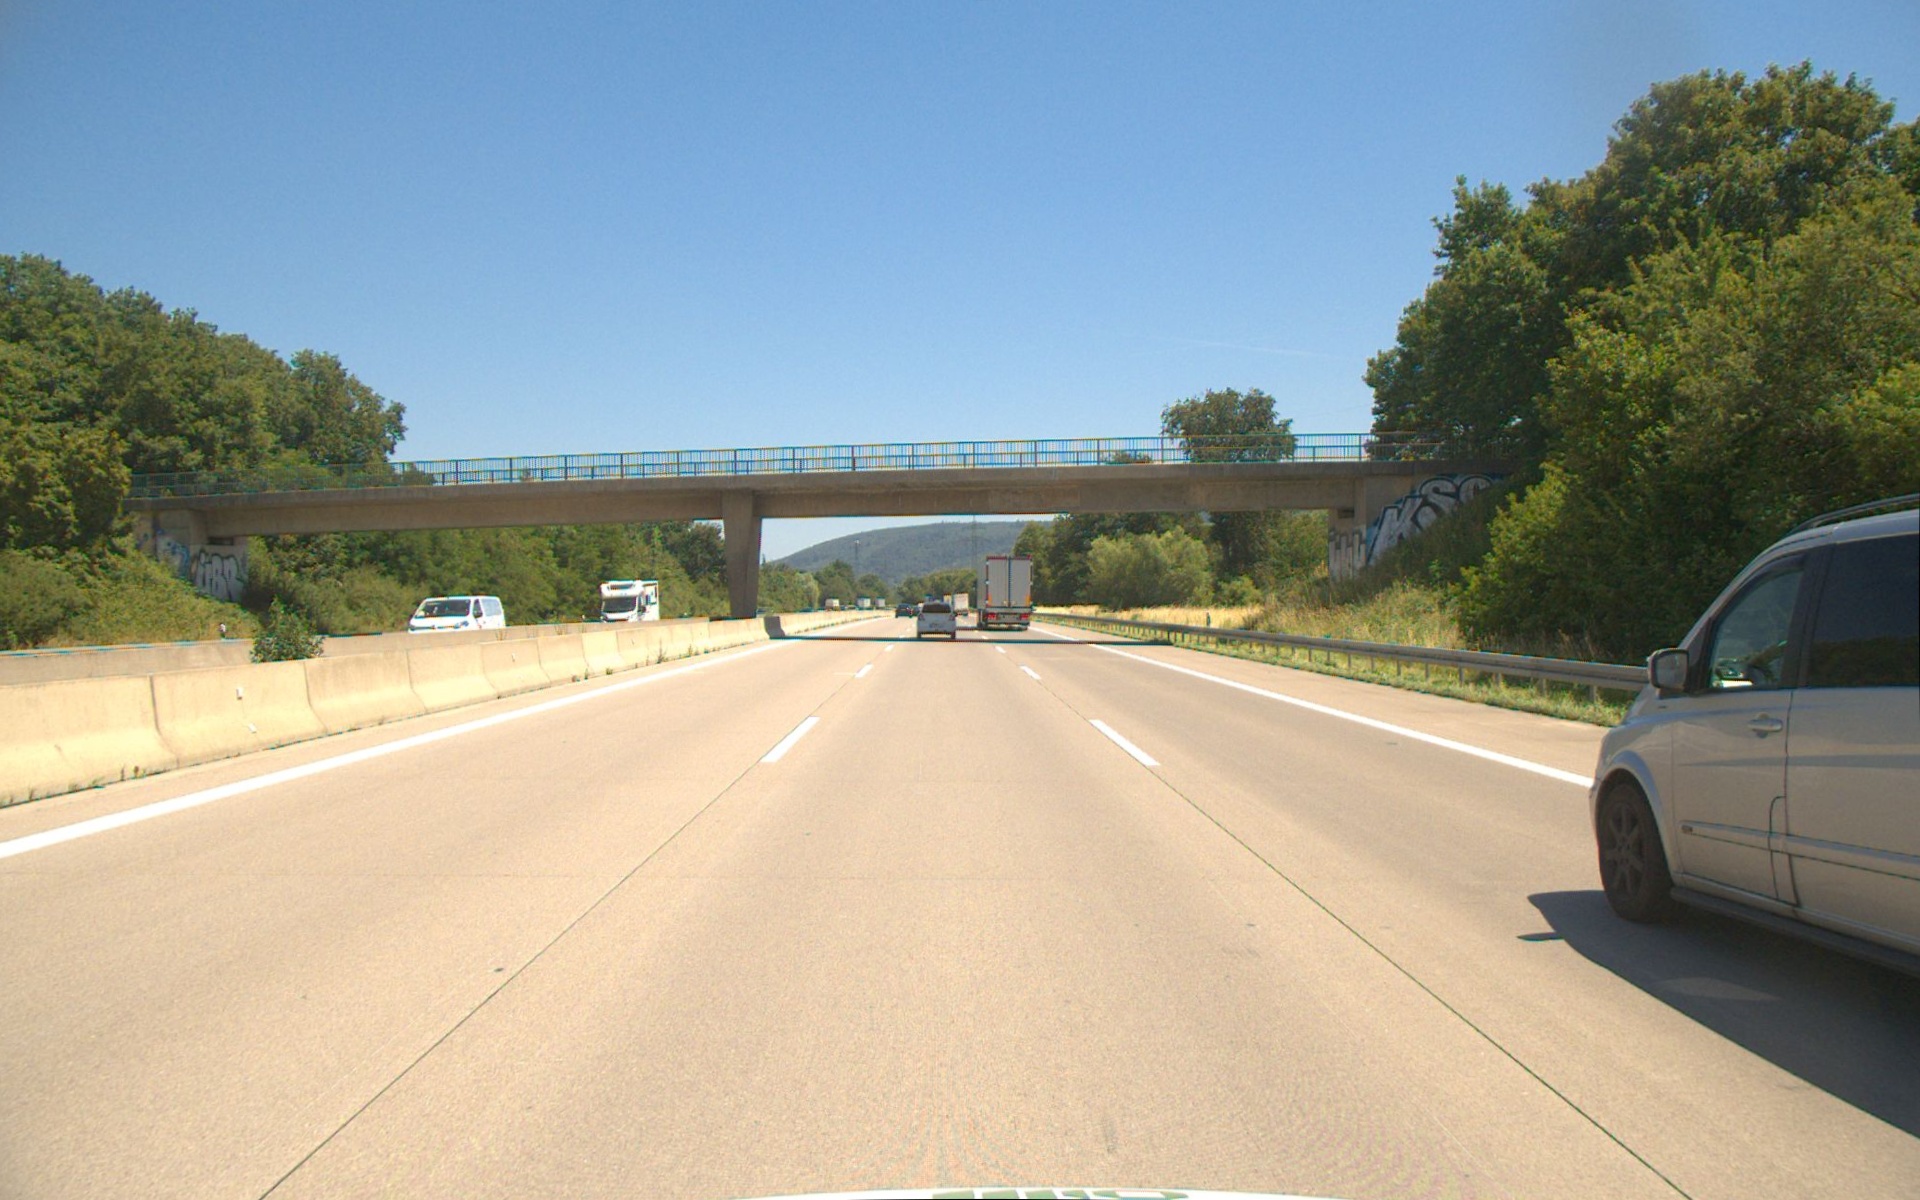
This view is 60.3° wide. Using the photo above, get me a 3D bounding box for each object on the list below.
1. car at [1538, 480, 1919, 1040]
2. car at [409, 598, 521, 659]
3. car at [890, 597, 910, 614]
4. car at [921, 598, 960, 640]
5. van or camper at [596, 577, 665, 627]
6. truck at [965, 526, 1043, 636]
[{"bbox_3d":[4.204,0.548,6.684,1.841,1.922,5.279,0,0,-1],"label":"car"},{"bbox_3d":[-15.108,0.817,50.769,1.789,1.748,5.791,0,0,-1],"label":"car"},{"bbox_3d":[-6.493,0.556,177.960,1.982,1.730,3.997,2,0,-3],"label":"car"},{"bbox_3d":[-0.830,0.779,70.194,1.608,1.691,3.359,1,0,-1],"label":"car"},{"bbox_3d":[-17.547,0.097,88.461,2.203,2.486,7.800,1,0,-1],"label":"van or camper"},{"bbox_3d":[2.384,-1.016,97.944,3.505,5.889,18.239,0,0,-2],"label":"truck"}]
